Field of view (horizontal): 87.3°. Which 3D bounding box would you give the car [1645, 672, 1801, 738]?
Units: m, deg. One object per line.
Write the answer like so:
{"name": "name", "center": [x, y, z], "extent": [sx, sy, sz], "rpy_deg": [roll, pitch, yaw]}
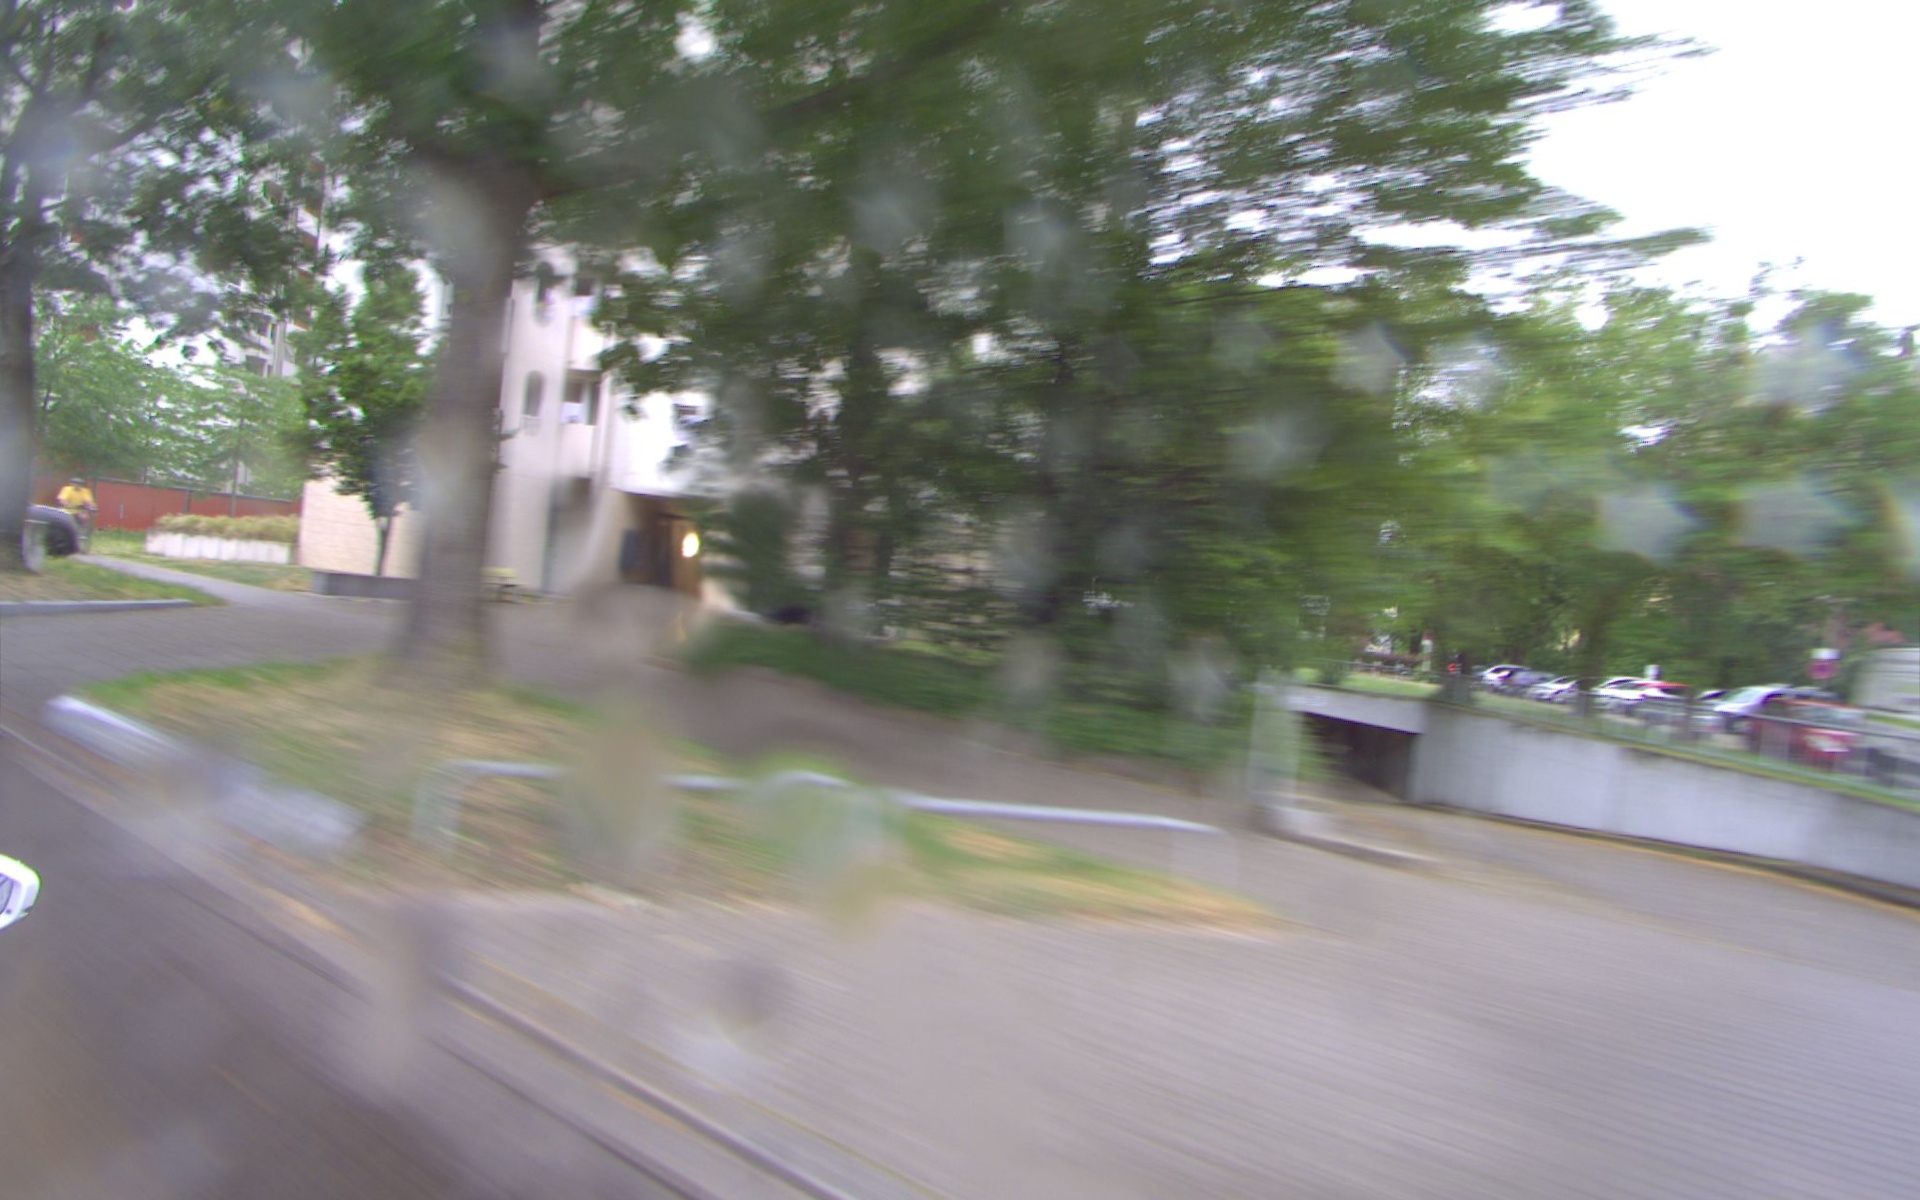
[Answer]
{"name": "car", "center": [28.688, 3.919, 37.948], "extent": [4.170, 1.799, 1.886], "rpy_deg": [8, -2, 6]}

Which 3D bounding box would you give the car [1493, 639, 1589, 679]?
{"name": "car", "center": [33.001, 3.353, 57.204], "extent": [4.170, 1.698, 1.885], "rpy_deg": [7, -1, 6]}

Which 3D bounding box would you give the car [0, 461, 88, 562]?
{"name": "car", "center": [-17.850, -1.638, 17.284], "extent": [1.962, 1.742, 4.144], "rpy_deg": [6, 2, 2]}

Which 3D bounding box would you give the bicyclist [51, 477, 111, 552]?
{"name": "bicyclist", "center": [-20.370, -1.981, 23.318], "extent": [0.929, 1.614, 0.735], "rpy_deg": [7, 2, 34]}

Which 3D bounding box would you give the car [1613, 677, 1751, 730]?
{"name": "car", "center": [29.006, 4.140, 40.573], "extent": [3.924, 1.470, 2.003], "rpy_deg": [7, -2, 13]}

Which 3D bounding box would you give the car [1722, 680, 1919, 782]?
{"name": "car", "center": [17.801, 2.602, 20.842], "extent": [1.872, 1.544, 4.417], "rpy_deg": [7, 0, 21]}

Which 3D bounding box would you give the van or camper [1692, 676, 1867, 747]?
{"name": "van or camper", "center": [28.861, 3.901, 35.549], "extent": [4.334, 1.793, 1.908], "rpy_deg": [7, 0, 6]}

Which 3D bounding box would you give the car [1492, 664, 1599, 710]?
{"name": "car", "center": [29.928, 4.423, 51.552], "extent": [4.170, 1.698, 1.885], "rpy_deg": [7, -1, 6]}

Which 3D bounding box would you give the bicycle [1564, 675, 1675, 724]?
{"name": "bicycle", "center": [29.920, 4.480, 45.717], "extent": [3.923, 1.652, 1.179], "rpy_deg": [7, 0, 12]}

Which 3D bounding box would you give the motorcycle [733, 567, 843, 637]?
{"name": "motorcycle", "center": [-3.885, 0.041, 22.863], "extent": [2.261, 1.305, 0.884], "rpy_deg": [6, 1, -4]}

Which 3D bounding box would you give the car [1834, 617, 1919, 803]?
{"name": "car", "center": [16.300, 1.843, 15.271], "extent": [2.090, 3.000, 6.076], "rpy_deg": [7, 0, 18]}

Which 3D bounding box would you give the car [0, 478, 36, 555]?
{"name": "car", "center": [-20.700, -1.778, 19.659], "extent": [1.701, 1.588, 3.881], "rpy_deg": [6, 2, -2]}

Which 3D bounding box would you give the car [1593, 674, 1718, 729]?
{"name": "car", "center": [29.864, 4.342, 43.317], "extent": [3.924, 1.741, 1.724], "rpy_deg": [7, -2, 13]}

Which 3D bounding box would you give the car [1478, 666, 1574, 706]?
{"name": "car", "center": [30.316, 4.592, 54.013], "extent": [3.924, 1.587, 1.981], "rpy_deg": [7, -2, 13]}

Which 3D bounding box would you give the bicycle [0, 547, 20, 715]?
{"name": "bicycle", "center": [-7.635, 0.077, 7.088], "extent": [2.475, 1.111, 0.810], "rpy_deg": [7, 1, 32]}

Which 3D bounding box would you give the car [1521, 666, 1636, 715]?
{"name": "car", "center": [29.896, 4.357, 48.735], "extent": [4.170, 1.698, 1.885], "rpy_deg": [7, -1, 6]}

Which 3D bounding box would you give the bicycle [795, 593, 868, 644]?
{"name": "bicycle", "center": [-2.765, 0.387, 21.735], "extent": [1.439, 0.937, 0.408], "rpy_deg": [6, 1, -4]}

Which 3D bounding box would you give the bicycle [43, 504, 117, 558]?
{"name": "bicycle", "center": [-20.399, -1.606, 23.313], "extent": [2.018, 1.070, 0.735], "rpy_deg": [7, 1, 34]}
